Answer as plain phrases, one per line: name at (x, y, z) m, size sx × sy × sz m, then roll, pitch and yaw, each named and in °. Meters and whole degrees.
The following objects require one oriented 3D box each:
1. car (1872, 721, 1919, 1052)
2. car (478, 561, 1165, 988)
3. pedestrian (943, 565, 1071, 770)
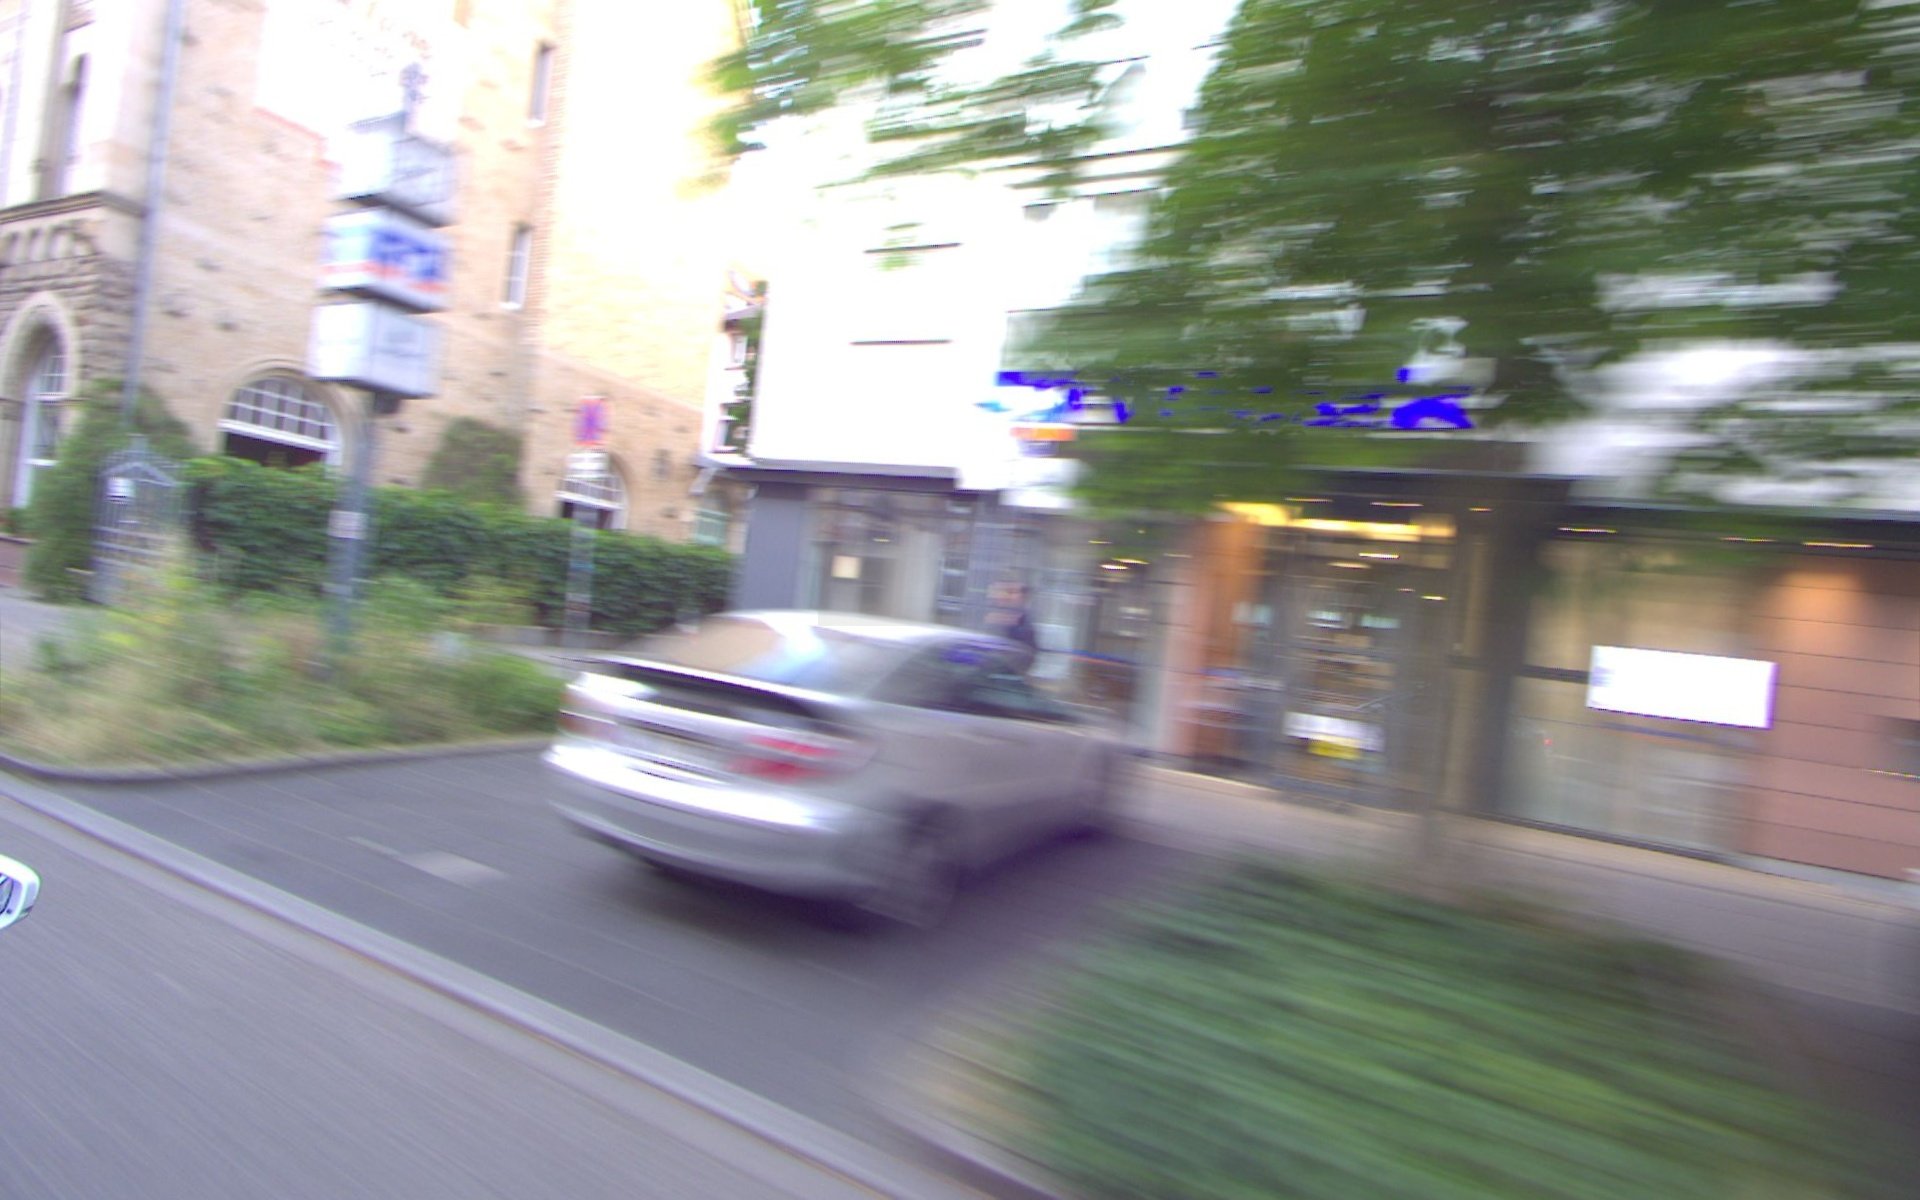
car at (4.633, 1.360, 2.871) m, size 1.704 × 1.471 × 3.802 m, roll 7°, pitch 1°, yaw 23°
car at (-0.400, 0.745, 6.051) m, size 1.850 × 1.471 × 4.090 m, roll 7°, pitch 1°, yaw 30°
pedestrian at (0.454, 0.607, 9.371) m, size 0.945 × 1.738 × 0.730 m, roll 6°, pitch 1°, yaw 9°
